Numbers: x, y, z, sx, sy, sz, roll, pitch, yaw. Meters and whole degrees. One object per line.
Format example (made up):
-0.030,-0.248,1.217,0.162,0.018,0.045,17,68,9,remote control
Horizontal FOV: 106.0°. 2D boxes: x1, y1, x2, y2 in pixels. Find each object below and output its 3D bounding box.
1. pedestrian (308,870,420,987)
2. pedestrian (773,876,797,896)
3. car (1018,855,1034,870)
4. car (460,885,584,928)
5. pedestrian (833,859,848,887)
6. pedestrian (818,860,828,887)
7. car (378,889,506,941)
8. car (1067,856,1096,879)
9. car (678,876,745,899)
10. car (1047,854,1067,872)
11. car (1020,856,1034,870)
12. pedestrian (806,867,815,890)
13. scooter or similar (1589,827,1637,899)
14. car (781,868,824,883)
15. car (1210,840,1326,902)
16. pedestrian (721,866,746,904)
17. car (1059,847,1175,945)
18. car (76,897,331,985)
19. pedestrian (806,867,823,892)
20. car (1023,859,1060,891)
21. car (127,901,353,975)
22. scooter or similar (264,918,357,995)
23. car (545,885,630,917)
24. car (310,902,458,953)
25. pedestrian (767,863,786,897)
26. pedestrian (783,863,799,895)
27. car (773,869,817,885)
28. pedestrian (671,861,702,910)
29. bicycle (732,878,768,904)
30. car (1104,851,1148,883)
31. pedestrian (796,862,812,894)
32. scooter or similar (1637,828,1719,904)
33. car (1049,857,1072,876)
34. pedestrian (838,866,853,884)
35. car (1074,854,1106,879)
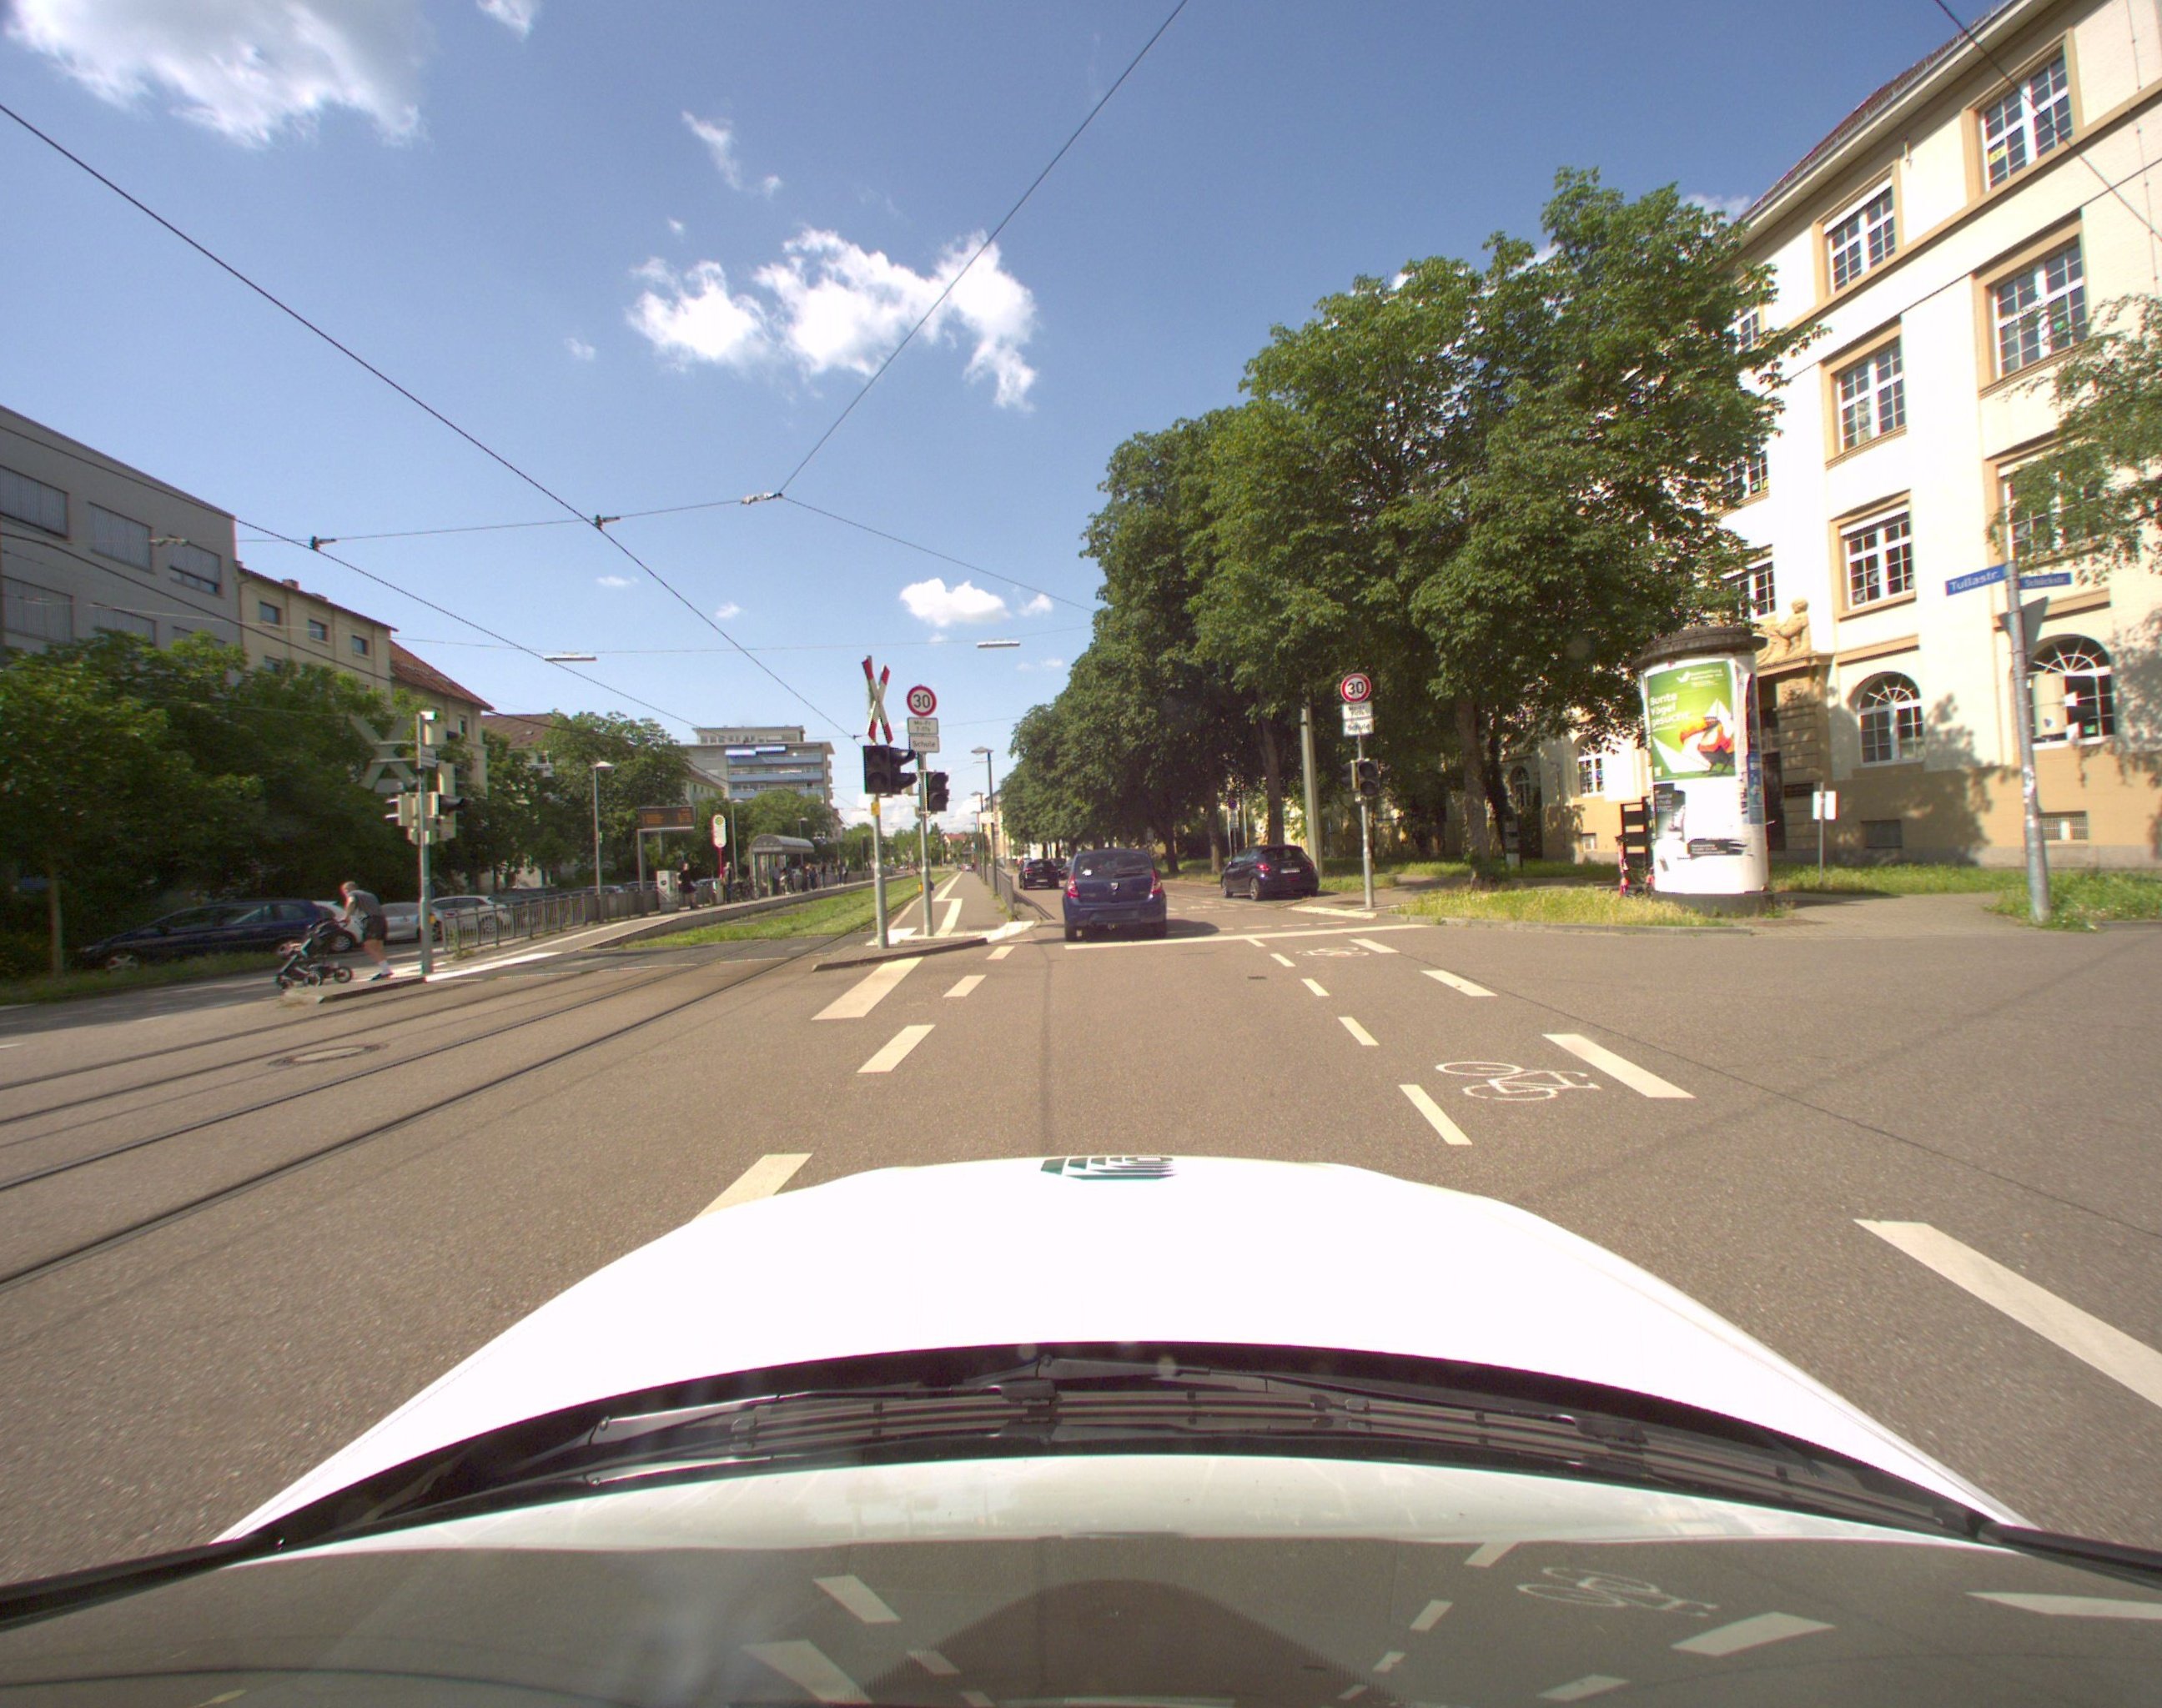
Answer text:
-11.897,1.202,13.555,0.870,1.775,1.001,-5,0,-8,pedestrian
-15.624,1.687,43.039,0.923,0.989,0.796,-5,-1,-5,pedestrian
-7.017,1.027,104.452,1.825,1.761,3.997,-3,0,-2,car
-23.767,2.206,34.757,1.669,1.456,4.025,-4,0,42,car
-17.838,1.377,60.373,0.793,2.013,0.667,-4,0,39,pedestrian
-16.879,1.297,53.244,0.489,1.712,0.461,-4,0,-17,pedestrian
-22.803,2.144,29.128,1.525,1.505,3.409,-4,0,45,car
0.000,0.943,59.488,1.847,1.515,3.997,-3,0,-2,car
-26.895,2.438,59.391,1.694,1.367,4.025,-4,0,41,car
-2.276,0.874,77.413,1.823,1.537,3.997,-4,0,-2,car
-7.328,1.179,110.550,1.664,1.772,3.995,-3,0,-3,car
-17.692,1.616,53.282,0.489,1.452,0.461,-4,0,-17,pedestrian
9.240,0.138,14.175,0.303,1.189,1.167,-3,0,16,scooter or similar
-30.620,2.374,89.527,4.022,1.447,1.707,-3,0,-42,car
5.058,0.446,22.586,1.765,1.433,3.893,-4,0,-8,car
-14.956,1.336,35.028,0.661,1.569,0.686,-5,0,0,pedestrian
0.623,0.661,14.746,1.761,1.462,3.777,-3,0,1,car
-21.699,2.071,20.371,1.704,1.640,4.158,-4,0,43,car
-15.526,1.476,47.429,0.648,1.426,0.566,-4,0,30,pedestrian
-1.923,0.995,39.795,1.696,1.368,3.511,-2,1,-3,car
-22.896,2.224,22.362,1.704,1.499,4.158,-4,0,43,car
-12.437,1.629,13.186,0.962,1.064,0.787,-5,0,-39,scooter or similar
-24.523,2.299,40.521,1.437,1.309,3.268,-3,0,34,car
-22.279,2.301,26.107,1.525,1.236,3.410,-4,0,43,car
-15.549,1.305,41.547,0.654,1.692,0.655,-4,0,-7,pedestrian
-16.238,1.371,45.583,0.592,1.736,0.556,-4,0,-3,pedestrian
-29.619,2.340,84.371,1.618,1.385,4.026,-3,0,37,car
-14.487,1.163,29.912,0.705,1.726,0.672,-3,0,34,pedestrian
-14.234,1.572,35.064,0.683,0.974,1.772,-6,0,3,bicycle
2.307,0.661,42.870,1.856,1.445,3.997,-5,0,-2,car
-15.870,1.362,46.717,0.602,1.766,0.639,-3,0,2,pedestrian
10.073,0.200,13.773,1.013,1.231,0.440,-3,0,29,scooter or similar
-1.791,1.072,71.892,1.856,1.445,3.997,-4,0,-2,car
-19.296,1.717,66.689,1.033,1.437,0.698,-5,0,-22,pedestrian
0.590,0.836,54.728,1.856,1.445,3.997,-5,0,-2,car
